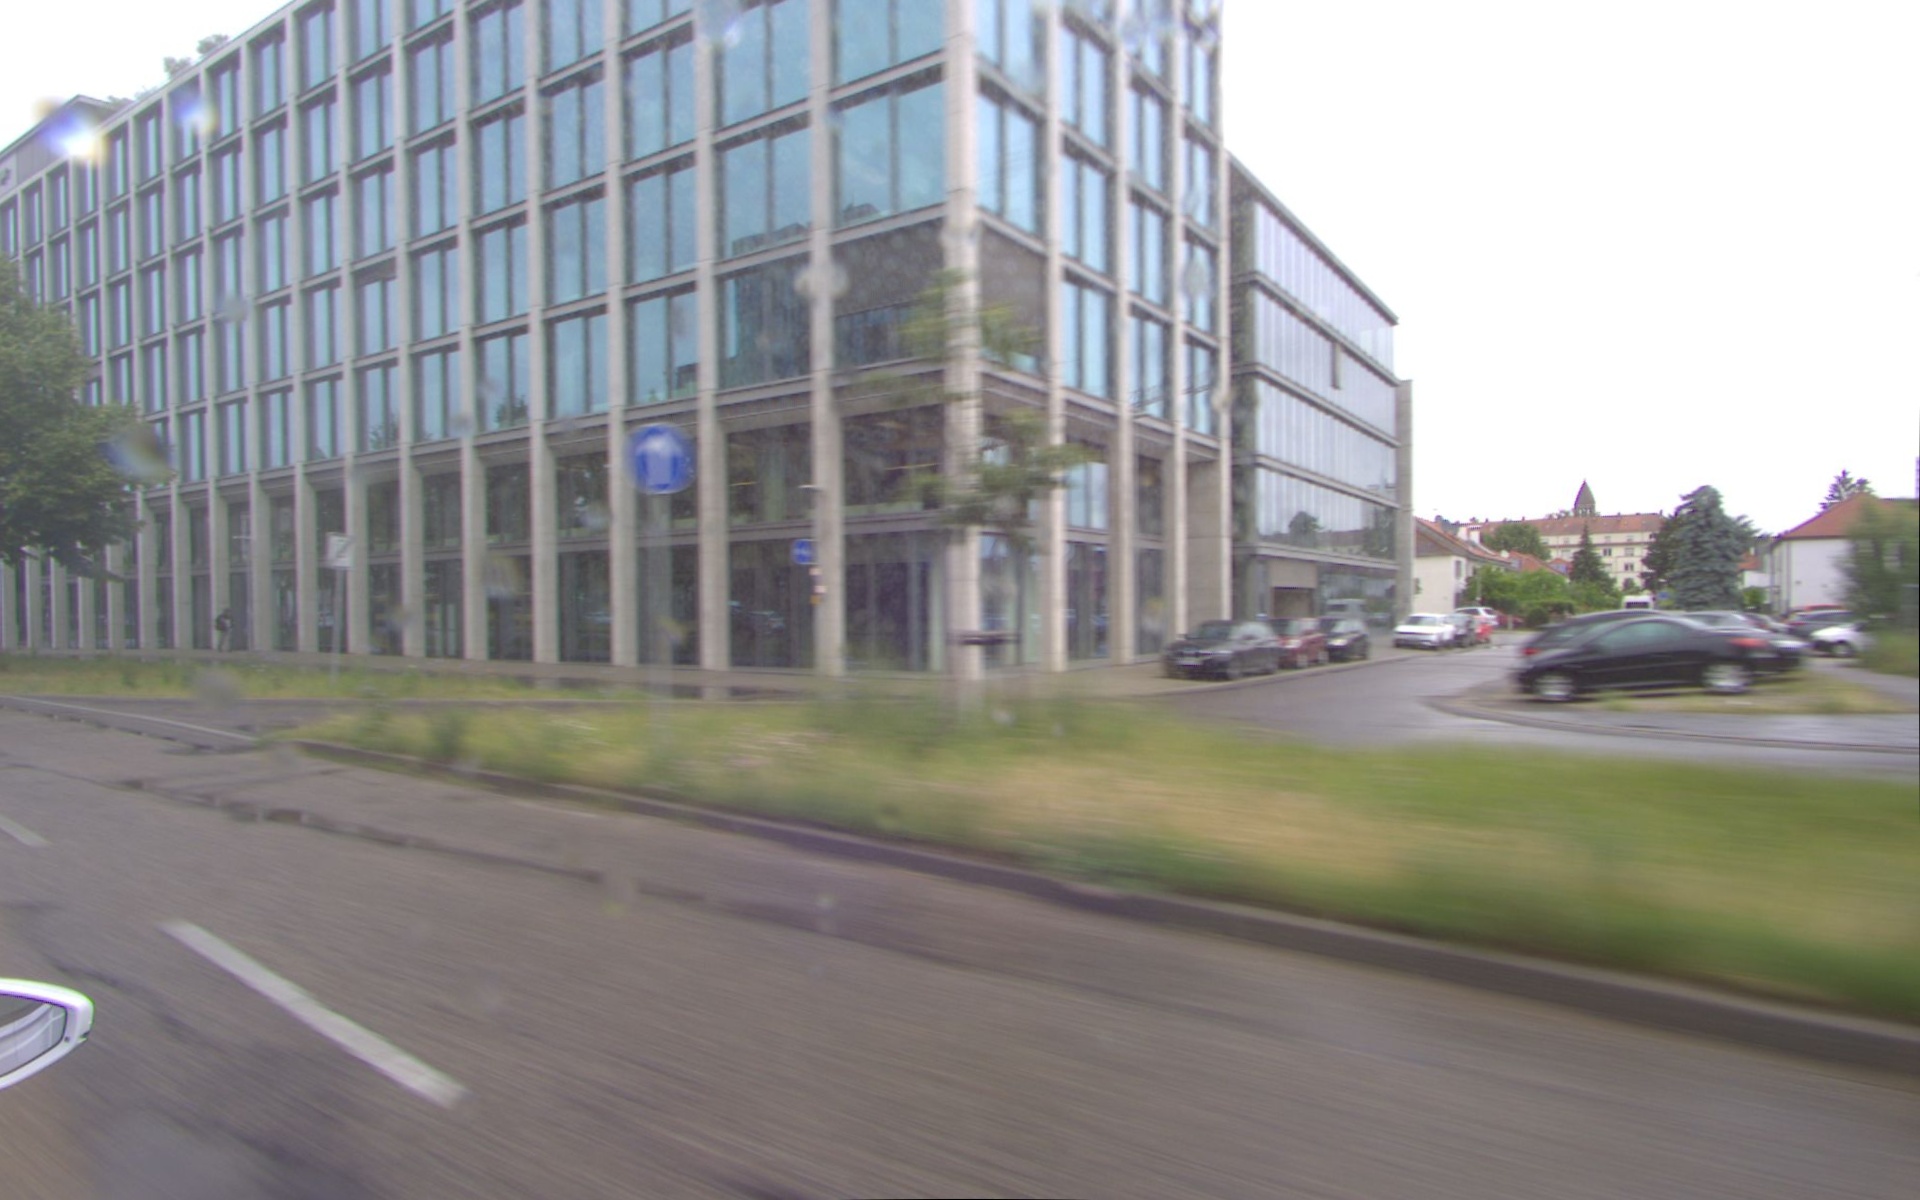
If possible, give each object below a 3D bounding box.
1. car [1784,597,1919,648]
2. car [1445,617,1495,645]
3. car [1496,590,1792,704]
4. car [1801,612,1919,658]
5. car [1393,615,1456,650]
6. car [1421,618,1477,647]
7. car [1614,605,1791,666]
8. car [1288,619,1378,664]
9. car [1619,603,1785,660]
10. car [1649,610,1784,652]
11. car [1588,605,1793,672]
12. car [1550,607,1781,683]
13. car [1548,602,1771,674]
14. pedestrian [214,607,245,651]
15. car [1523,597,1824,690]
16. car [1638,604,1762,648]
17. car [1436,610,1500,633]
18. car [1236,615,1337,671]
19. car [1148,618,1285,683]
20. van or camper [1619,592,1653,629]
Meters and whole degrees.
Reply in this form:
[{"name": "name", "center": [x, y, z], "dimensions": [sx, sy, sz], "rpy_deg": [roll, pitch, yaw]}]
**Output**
[{"name": "car", "center": [35.564, 0.926, 40.007], "dimensions": [3.987, 1.733, 1.689], "rpy_deg": [-5, -3, 40]}, {"name": "car", "center": [27.727, 1.662, 54.396], "dimensions": [1.837, 1.434, 3.974], "rpy_deg": [0, -1, 37]}, {"name": "car", "center": [11.757, 0.859, 17.384], "dimensions": [3.957, 1.599, 1.847], "rpy_deg": [-8, -5, 39]}, {"name": "car", "center": [32.726, 1.232, 35.630], "dimensions": [3.978, 1.463, 1.693], "rpy_deg": [-5, -3, 33]}, {"name": "car", "center": [20.997, 1.419, 45.191], "dimensions": [1.837, 1.457, 3.974], "rpy_deg": [1, 0, 37]}, {"name": "car", "center": [24.374, 1.583, 49.853], "dimensions": [1.837, 1.390, 3.974], "rpy_deg": [0, -1, 37]}, {"name": "car", "center": [21.018, 0.974, 28.491], "dimensions": [3.949, 1.622, 1.848], "rpy_deg": [-1, -1, 37]}, {"name": "car", "center": [12.832, 1.376, 34.353], "dimensions": [1.837, 1.391, 3.974], "rpy_deg": [1, 0, 37]}, {"name": "car", "center": [22.372, 0.916, 30.329], "dimensions": [3.949, 1.622, 1.848], "rpy_deg": [-1, -1, 37]}, {"name": "car", "center": [29.603, 1.227, 39.342], "dimensions": [3.976, 1.369, 1.694], "rpy_deg": [-5, -3, 31]}, {"name": "car", "center": [19.116, 1.043, 26.375], "dimensions": [4.179, 1.493, 1.779], "rpy_deg": [-5, -3, 37]}, {"name": "car", "center": [15.333, 1.008, 21.934], "dimensions": [3.951, 1.473, 1.848], "rpy_deg": [-4, -3, 37]}, {"name": "car", "center": [17.084, 0.877, 24.636], "dimensions": [4.359, 1.622, 1.848], "rpy_deg": [-1, -1, 37]}, {"name": "pedestrian", "center": [-29.677, 1.165, 40.678], "dimensions": [0.848, 1.738, 0.715], "rpy_deg": [0, 2, 31]}, {"name": "car", "center": [13.667, 0.886, 19.452], "dimensions": [4.504, 1.472, 1.848], "rpy_deg": [-6, -4, 37]}, {"name": "car", "center": [31.620, 1.137, 42.925], "dimensions": [3.974, 1.621, 1.853], "rpy_deg": [-5, -3, 30]}, {"name": "car", "center": [36.128, 1.497, 71.287], "dimensions": [3.942, 1.603, 1.852], "rpy_deg": [0, -1, 32]}, {"name": "car", "center": [10.088, 1.259, 30.752], "dimensions": [1.835, 1.508, 3.975], "rpy_deg": [2, 1, 35]}, {"name": "car", "center": [6.693, 1.223, 25.801], "dimensions": [1.955, 1.457, 4.204], "rpy_deg": [2, 1, 37]}, {"name": "van or camper", "center": [50.579, 0.809, 74.897], "dimensions": [2.065, 2.618, 5.598], "rpy_deg": [0, -1, 35]}]
